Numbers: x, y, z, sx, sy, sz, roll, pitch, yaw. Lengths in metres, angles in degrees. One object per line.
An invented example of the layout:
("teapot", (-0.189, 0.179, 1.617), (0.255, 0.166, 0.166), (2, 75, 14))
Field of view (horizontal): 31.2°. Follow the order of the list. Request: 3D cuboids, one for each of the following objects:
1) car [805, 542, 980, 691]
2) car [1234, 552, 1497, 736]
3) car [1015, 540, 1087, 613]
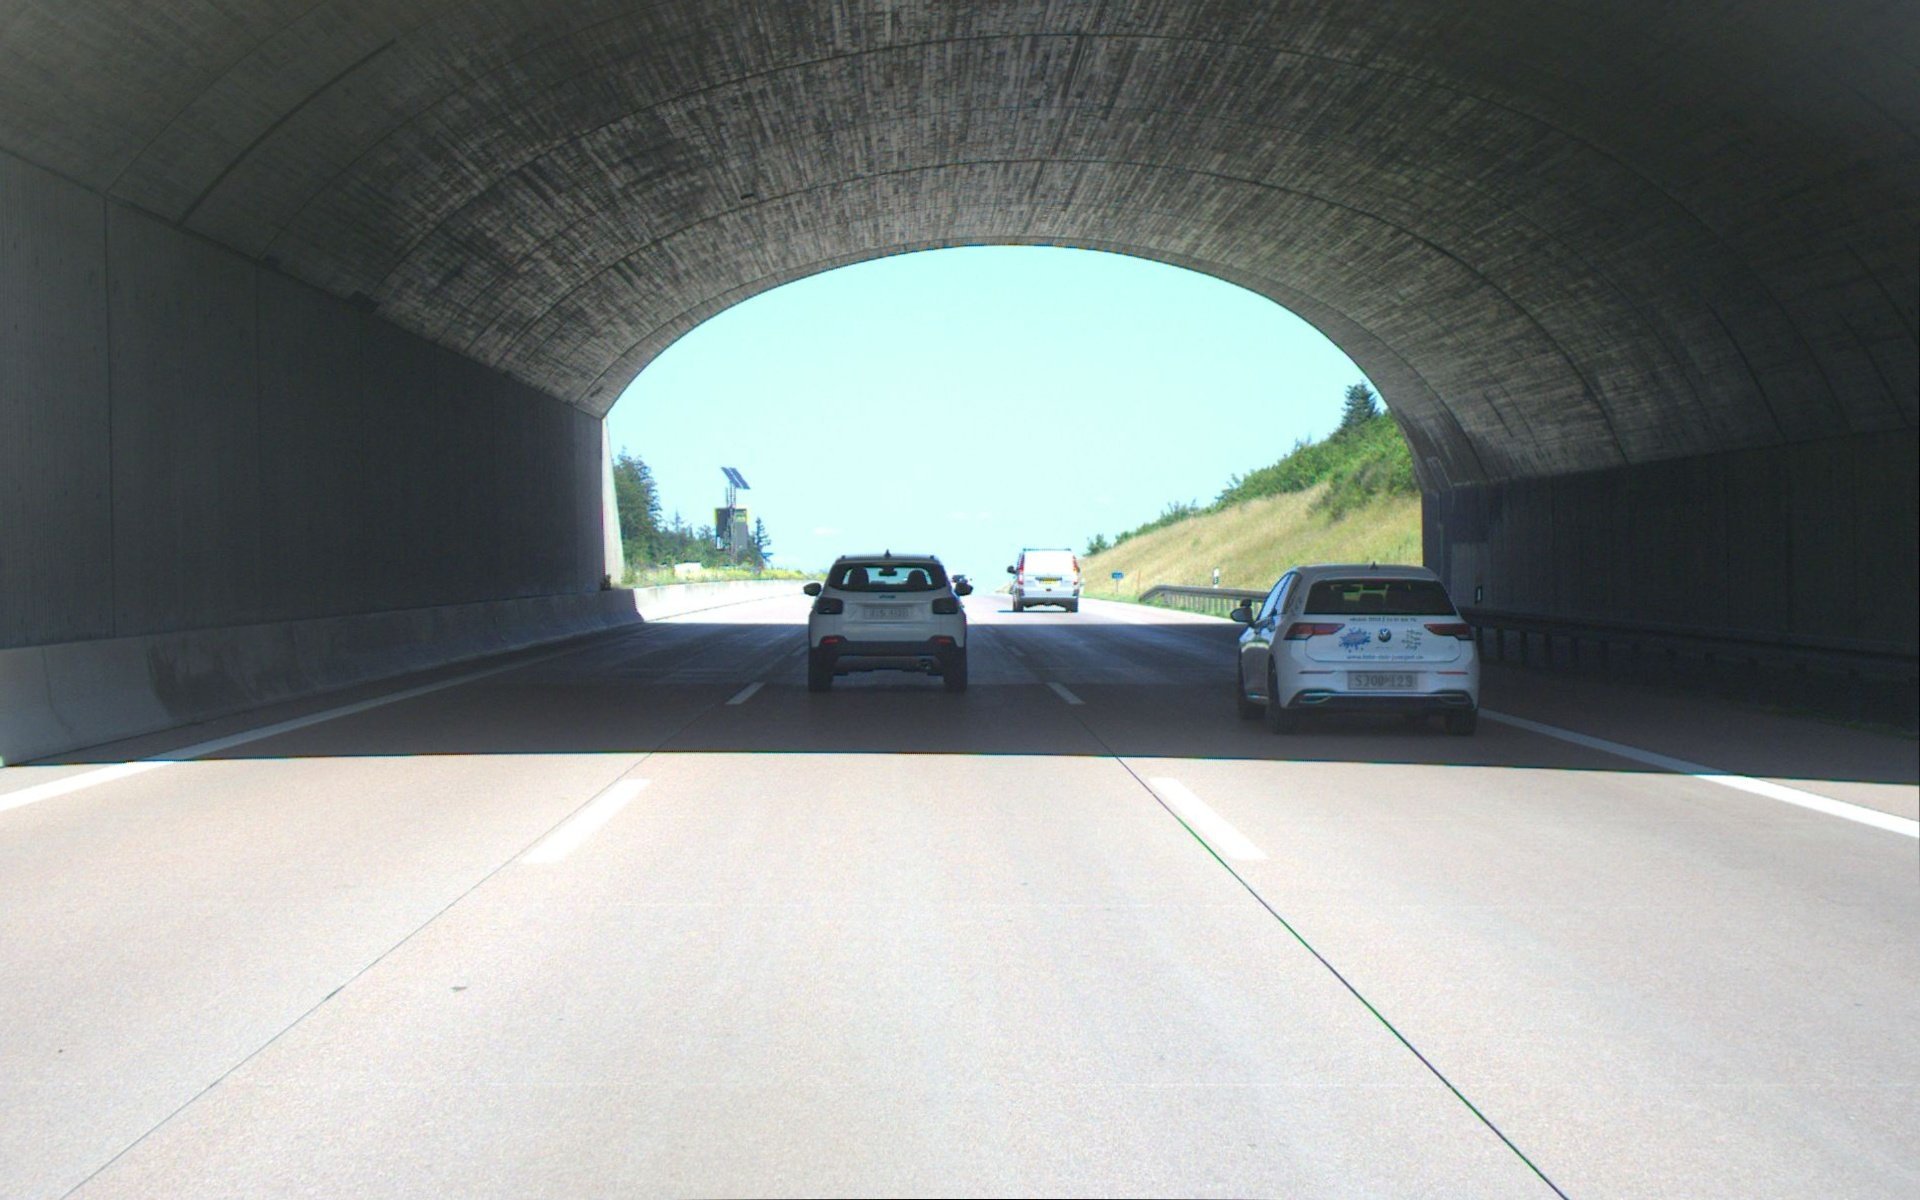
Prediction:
("car", (-0.766, 0.146, 39.613), (1.879, 1.602, 4.834), (0, 1, -1))
("car", (3.492, 0.334, 30.265), (1.891, 1.393, 4.000), (1, 2, 1))
("car", (2.733, -0.743, 103.522), (2.110, 2.046, 4.000), (0, 2, 1))
